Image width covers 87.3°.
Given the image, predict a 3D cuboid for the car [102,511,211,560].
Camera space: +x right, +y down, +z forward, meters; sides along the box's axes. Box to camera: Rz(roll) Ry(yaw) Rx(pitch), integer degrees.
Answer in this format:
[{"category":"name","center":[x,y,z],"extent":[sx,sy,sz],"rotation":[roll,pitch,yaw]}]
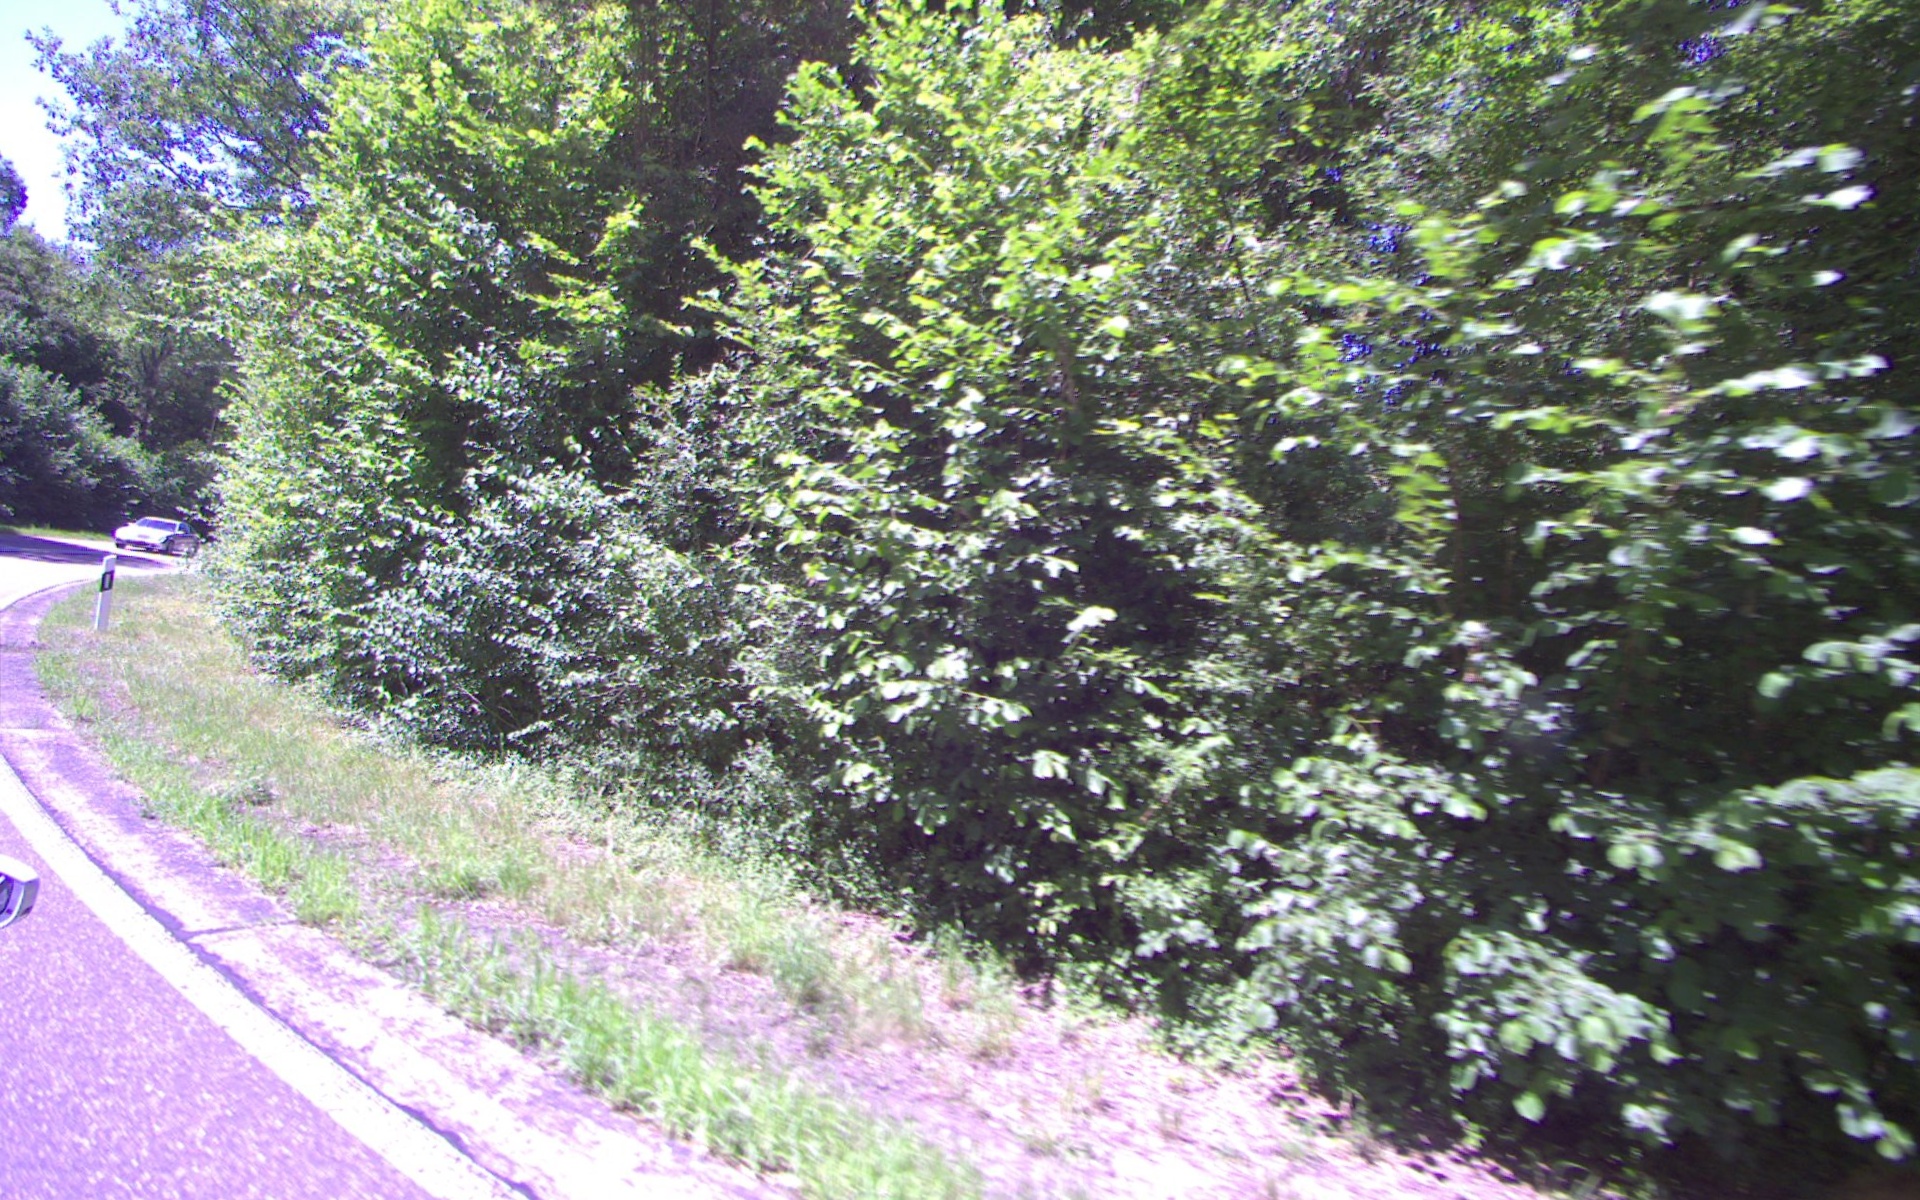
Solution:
[{"category":"car","center":[-34.050,-2.674,42.812],"extent":[1.824,1.503,4.751],"rotation":[8,-2,-16]}]
